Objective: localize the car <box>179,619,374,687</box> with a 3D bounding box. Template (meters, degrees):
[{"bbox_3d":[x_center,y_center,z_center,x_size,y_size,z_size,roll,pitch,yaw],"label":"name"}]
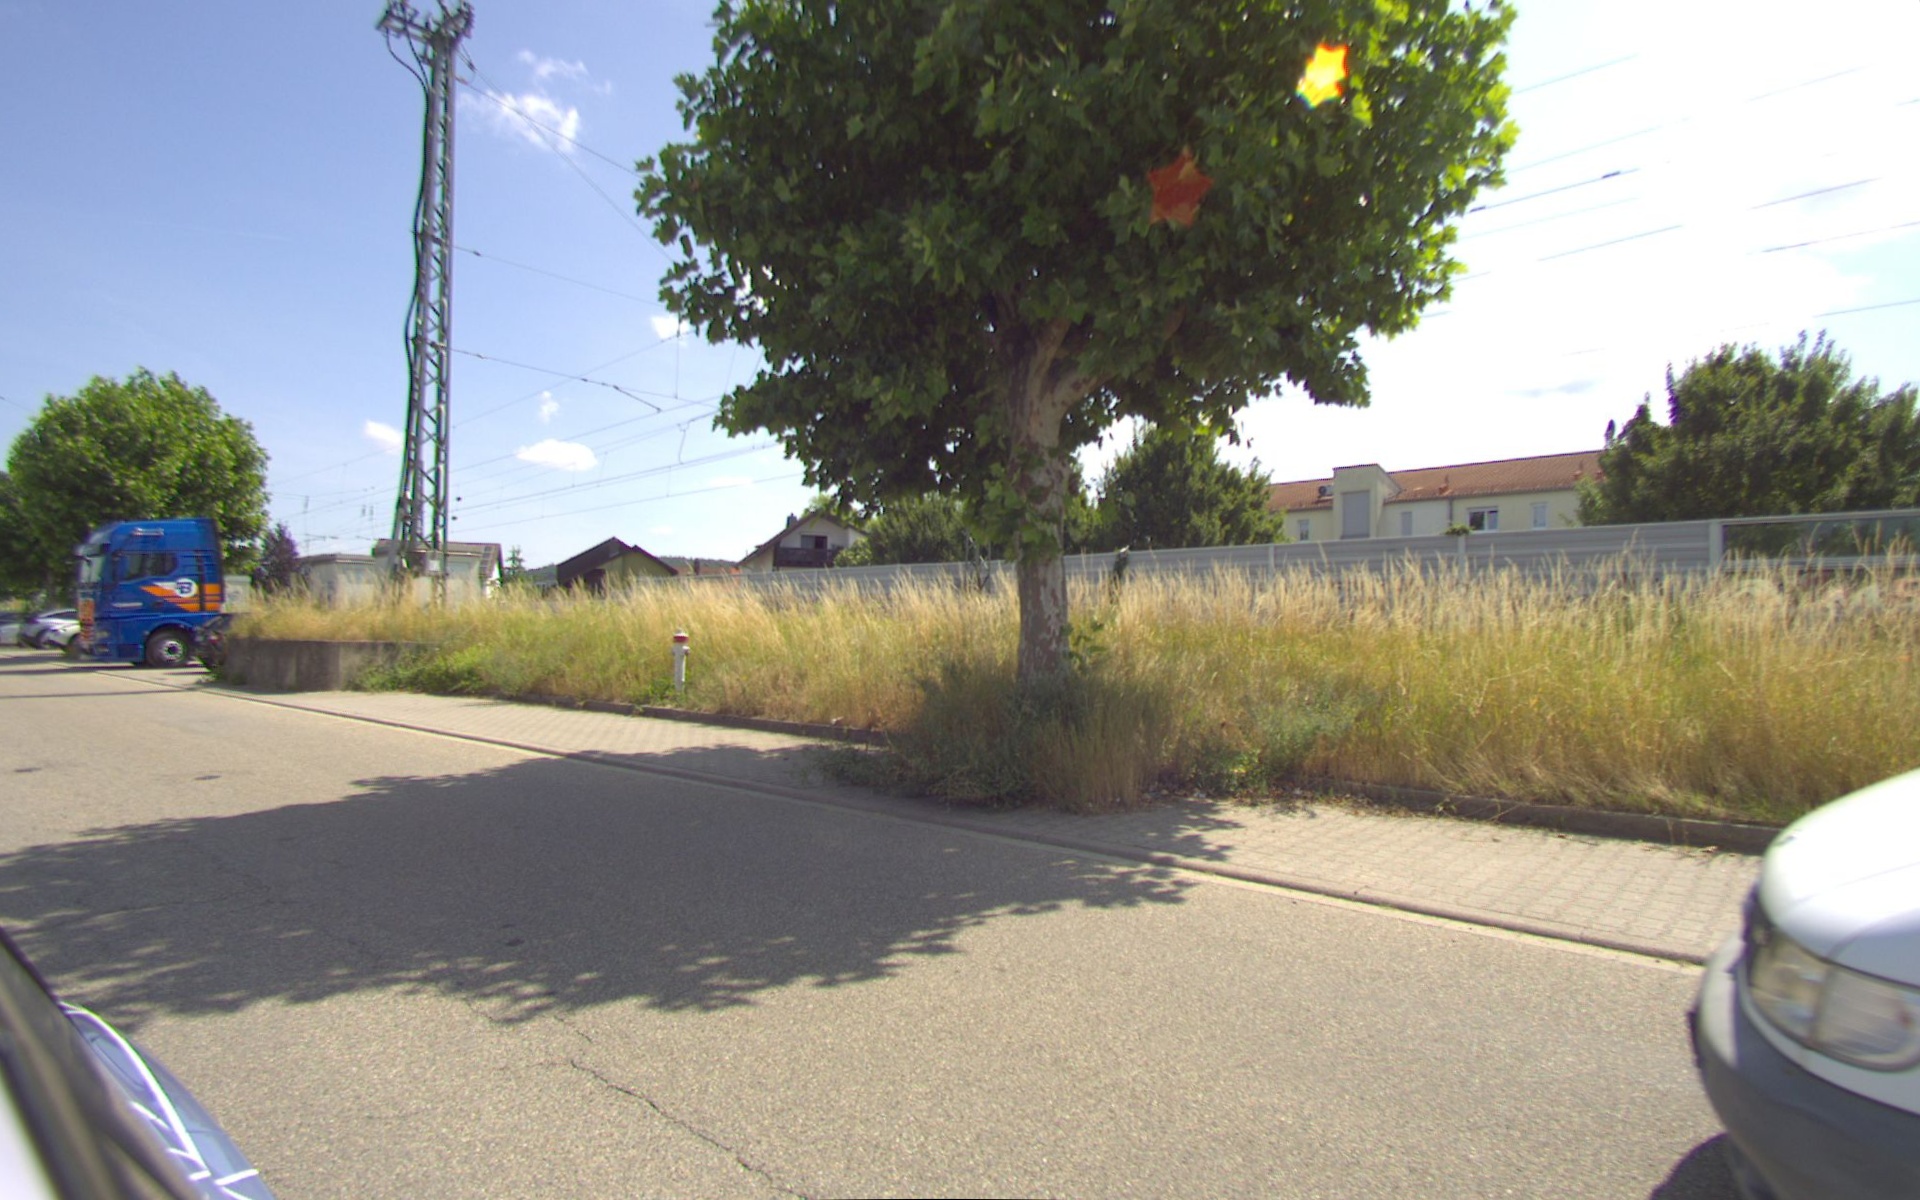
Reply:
[{"bbox_3d":[-16.931,1.320,25.196,1.697,1.511,3.609,1,-2,37],"label":"car"}]

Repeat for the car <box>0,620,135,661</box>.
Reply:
[{"bbox_3d":[-36.209,1.613,40.788,1.924,1.544,4.294,-2,-2,39],"label":"car"}]

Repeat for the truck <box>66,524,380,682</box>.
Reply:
[{"bbox_3d":[-20.116,0.128,28.003,2.660,3.852,6.551,-1,-2,38],"label":"truck"}]

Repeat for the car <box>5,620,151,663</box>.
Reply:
[{"bbox_3d":[-34.081,1.586,39.172,1.997,1.559,3.948,-1,-2,38],"label":"car"}]

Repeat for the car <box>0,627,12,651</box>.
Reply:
[{"bbox_3d":[-59.693,2.305,60.309,1.785,1.421,4.384,-1,-3,37],"label":"car"}]

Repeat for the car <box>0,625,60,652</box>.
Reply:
[{"bbox_3d":[-49.103,1.992,52.006,1.672,1.379,4.031,-3,-3,40],"label":"car"}]

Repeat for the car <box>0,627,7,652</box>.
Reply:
[{"bbox_3d":[-56.092,2.211,56.441,1.784,1.412,4.034,-1,-2,38],"label":"car"}]

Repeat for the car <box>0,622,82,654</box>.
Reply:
[{"bbox_3d":[-44.451,1.803,48.143,1.787,1.461,3.900,-1,-3,44],"label":"car"}]

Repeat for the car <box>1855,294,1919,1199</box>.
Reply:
[{"bbox_3d":[3.761,0.436,0.811,4.481,1.872,1.819,-1,-2,41],"label":"car"}]

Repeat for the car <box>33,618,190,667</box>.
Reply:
[{"bbox_3d":[-29.917,1.482,35.783,1.847,1.630,3.934,-1,-3,36],"label":"car"}]
